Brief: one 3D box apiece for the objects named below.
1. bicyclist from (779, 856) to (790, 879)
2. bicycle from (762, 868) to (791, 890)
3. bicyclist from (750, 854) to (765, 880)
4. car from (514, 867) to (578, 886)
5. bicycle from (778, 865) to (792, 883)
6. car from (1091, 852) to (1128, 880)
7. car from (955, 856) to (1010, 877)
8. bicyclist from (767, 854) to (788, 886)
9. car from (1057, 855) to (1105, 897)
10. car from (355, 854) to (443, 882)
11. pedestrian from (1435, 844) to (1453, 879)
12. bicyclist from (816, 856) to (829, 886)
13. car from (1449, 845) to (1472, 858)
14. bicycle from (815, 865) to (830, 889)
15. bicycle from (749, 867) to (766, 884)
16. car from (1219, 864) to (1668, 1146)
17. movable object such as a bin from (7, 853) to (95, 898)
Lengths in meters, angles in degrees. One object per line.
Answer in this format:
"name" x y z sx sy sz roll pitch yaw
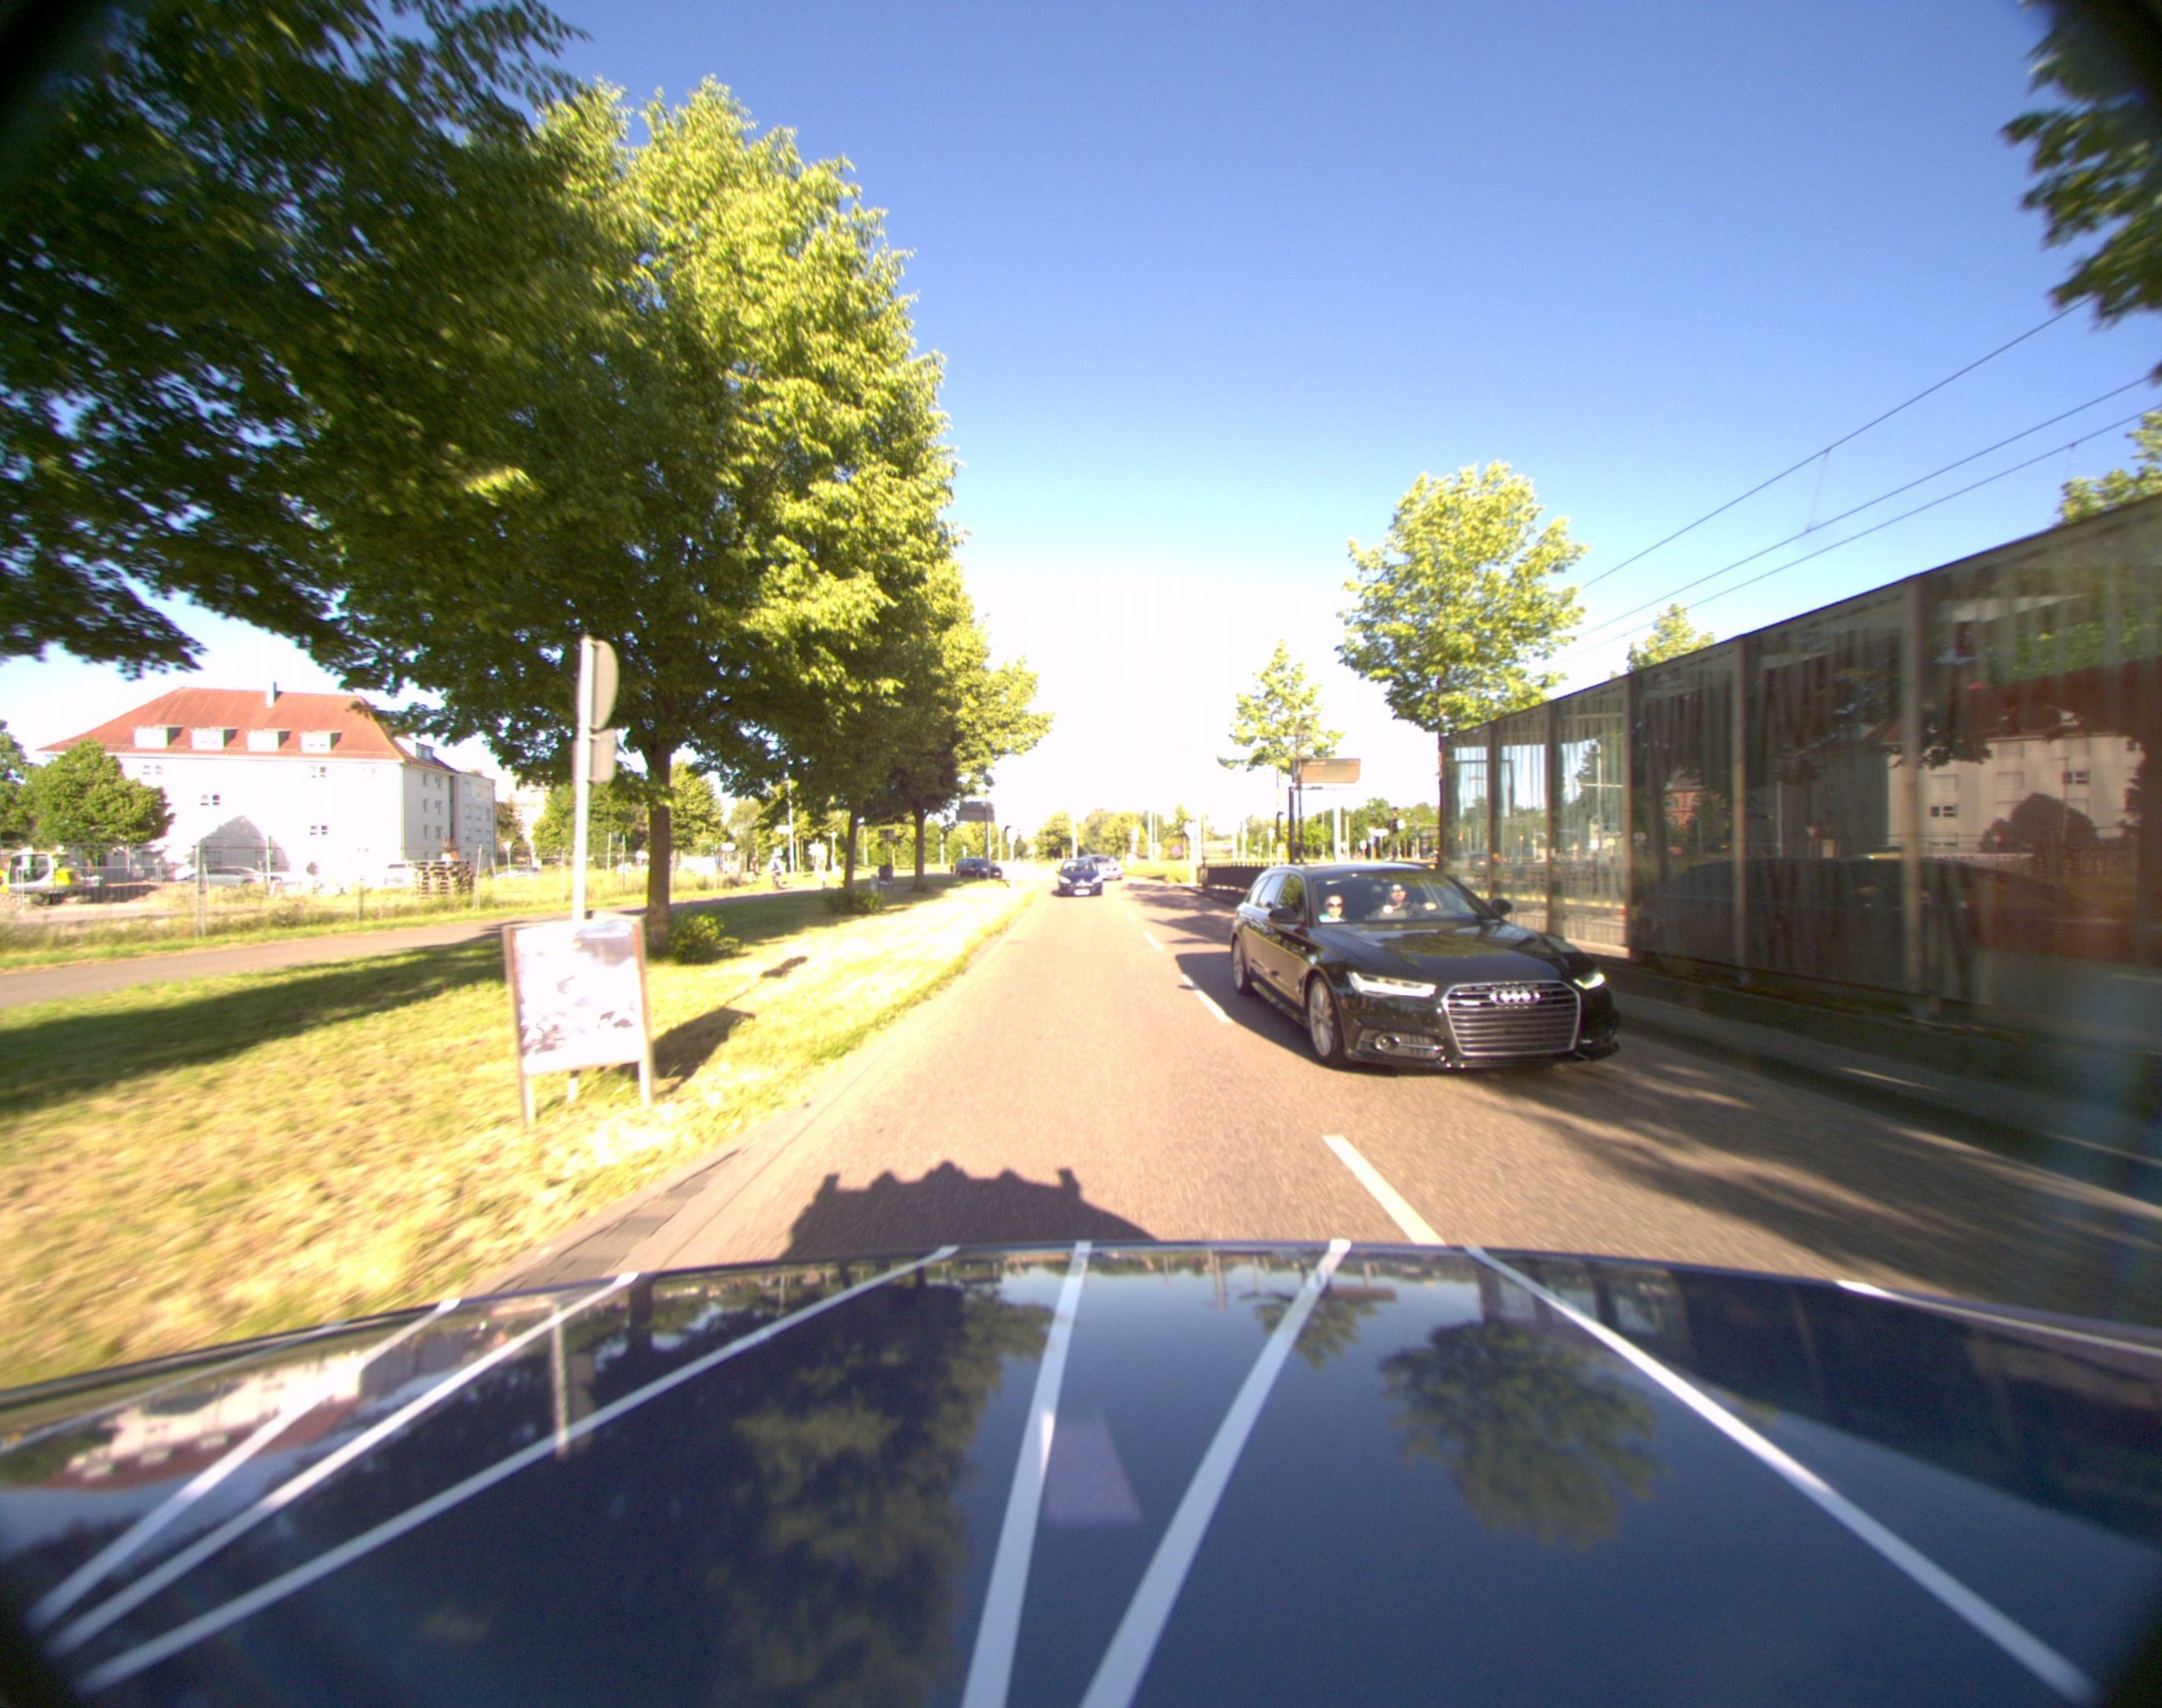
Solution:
"bicyclist" -18.870 0.847 48.336 0.472 1.478 0.913 -3 2 -32
"bicycle" -14.954 1.221 37.354 0.657 1.006 1.820 -1 0 0
"bicyclist" -20.034 0.799 47.035 0.594 1.578 0.963 -3 2 -33
"car" -44.924 1.853 63.904 4.004 1.370 1.753 -2 2 -21
"bicycle" -18.857 1.245 48.341 0.480 1.076 1.640 -3 2 -32
"car" 1.606 0.664 44.696 1.849 1.560 4.527 -1 0 -2
"car" -6.854 0.841 52.521 1.854 1.419 3.937 -1 0 -42
"bicyclist" -14.946 0.791 37.393 0.654 1.544 0.794 -1 1 1
"car" 0.051 0.851 30.810 1.763 1.506 3.948 -1 1 2
"car" -51.544 1.030 57.571 4.477 2.002 1.996 -1 1 -20
"pedestrian" 16.903 0.333 35.427 0.418 1.569 0.811 -1 2 -2
"bicyclist" -13.024 0.842 38.289 0.505 1.464 0.832 -1 1 -26
"car" 40.538 -0.282 81.096 1.660 1.257 3.628 0 2 36
"bicycle" -13.036 1.140 38.317 0.508 1.145 1.601 -1 0 -26
"bicycle" -20.040 1.326 47.090 0.594 0.955 1.895 -3 2 -34
"car" 2.523 0.910 6.714 1.788 1.518 4.601 -2 0 1
"movable object such as a bin" -50.125 1.008 37.030 2.072 2.002 1.994 -3 2 -41
